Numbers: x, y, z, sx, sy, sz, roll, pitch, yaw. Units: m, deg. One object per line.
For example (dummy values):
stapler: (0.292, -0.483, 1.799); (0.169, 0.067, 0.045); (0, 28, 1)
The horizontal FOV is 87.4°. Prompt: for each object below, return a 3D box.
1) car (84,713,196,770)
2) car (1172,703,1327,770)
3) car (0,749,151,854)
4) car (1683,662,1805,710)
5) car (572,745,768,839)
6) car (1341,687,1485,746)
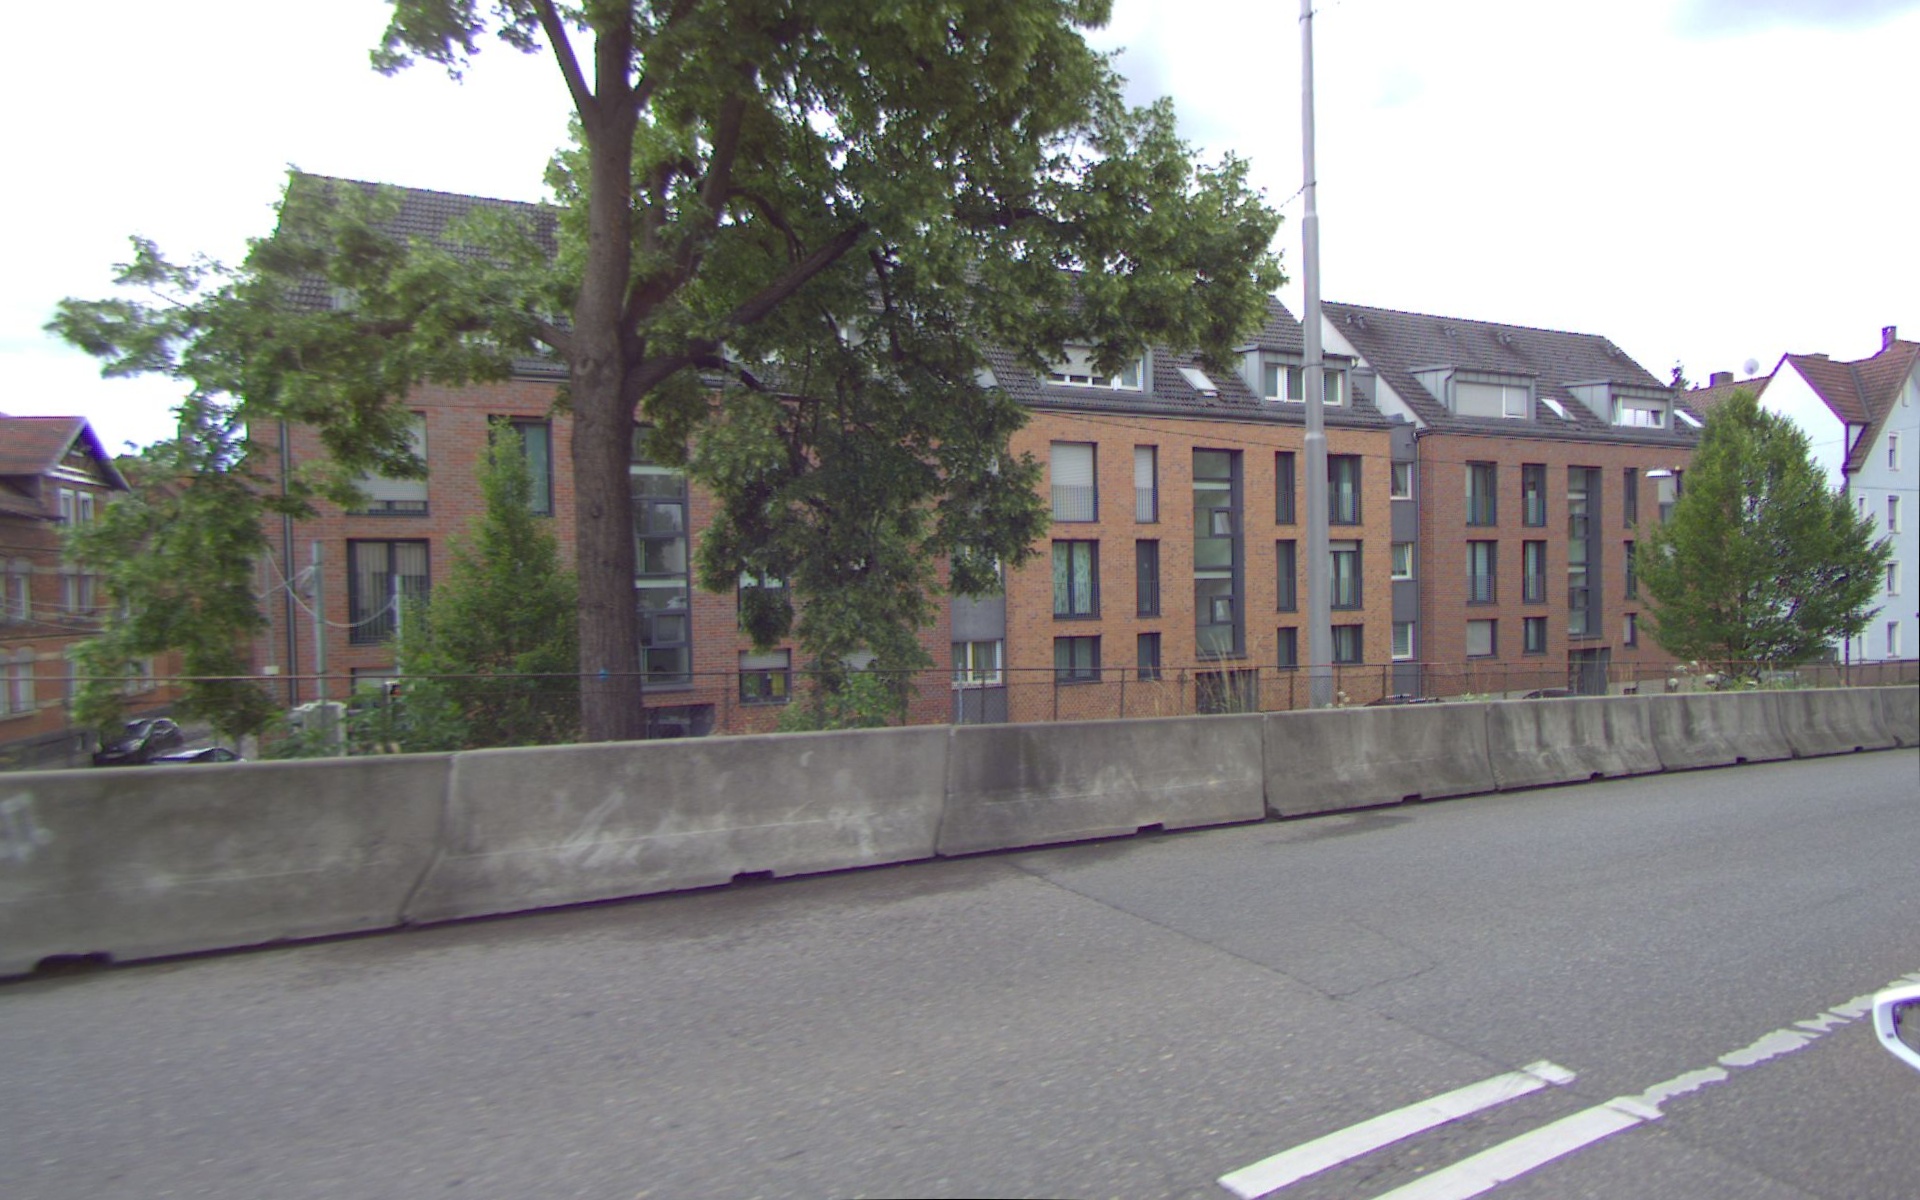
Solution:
car: (-29.458, 5.037, 36.236); (1.772, 1.530, 3.984); (-1, -1, -18)
car: (8.125, 3.787, 28.241); (3.942, 1.530, 1.791); (1, -2, -23)
car: (-19.789, 4.375, 22.187); (1.773, 1.530, 3.981); (-3, 0, -21)
car: (29.330, 3.165, 37.592); (4.154, 1.629, 1.791); (1, -2, -23)
car: (-6.327, 4.115, 21.922); (3.943, 1.530, 1.790); (1, -2, -23)
car: (13.728, 3.479, 30.454); (3.942, 1.530, 1.791); (1, -2, -23)
